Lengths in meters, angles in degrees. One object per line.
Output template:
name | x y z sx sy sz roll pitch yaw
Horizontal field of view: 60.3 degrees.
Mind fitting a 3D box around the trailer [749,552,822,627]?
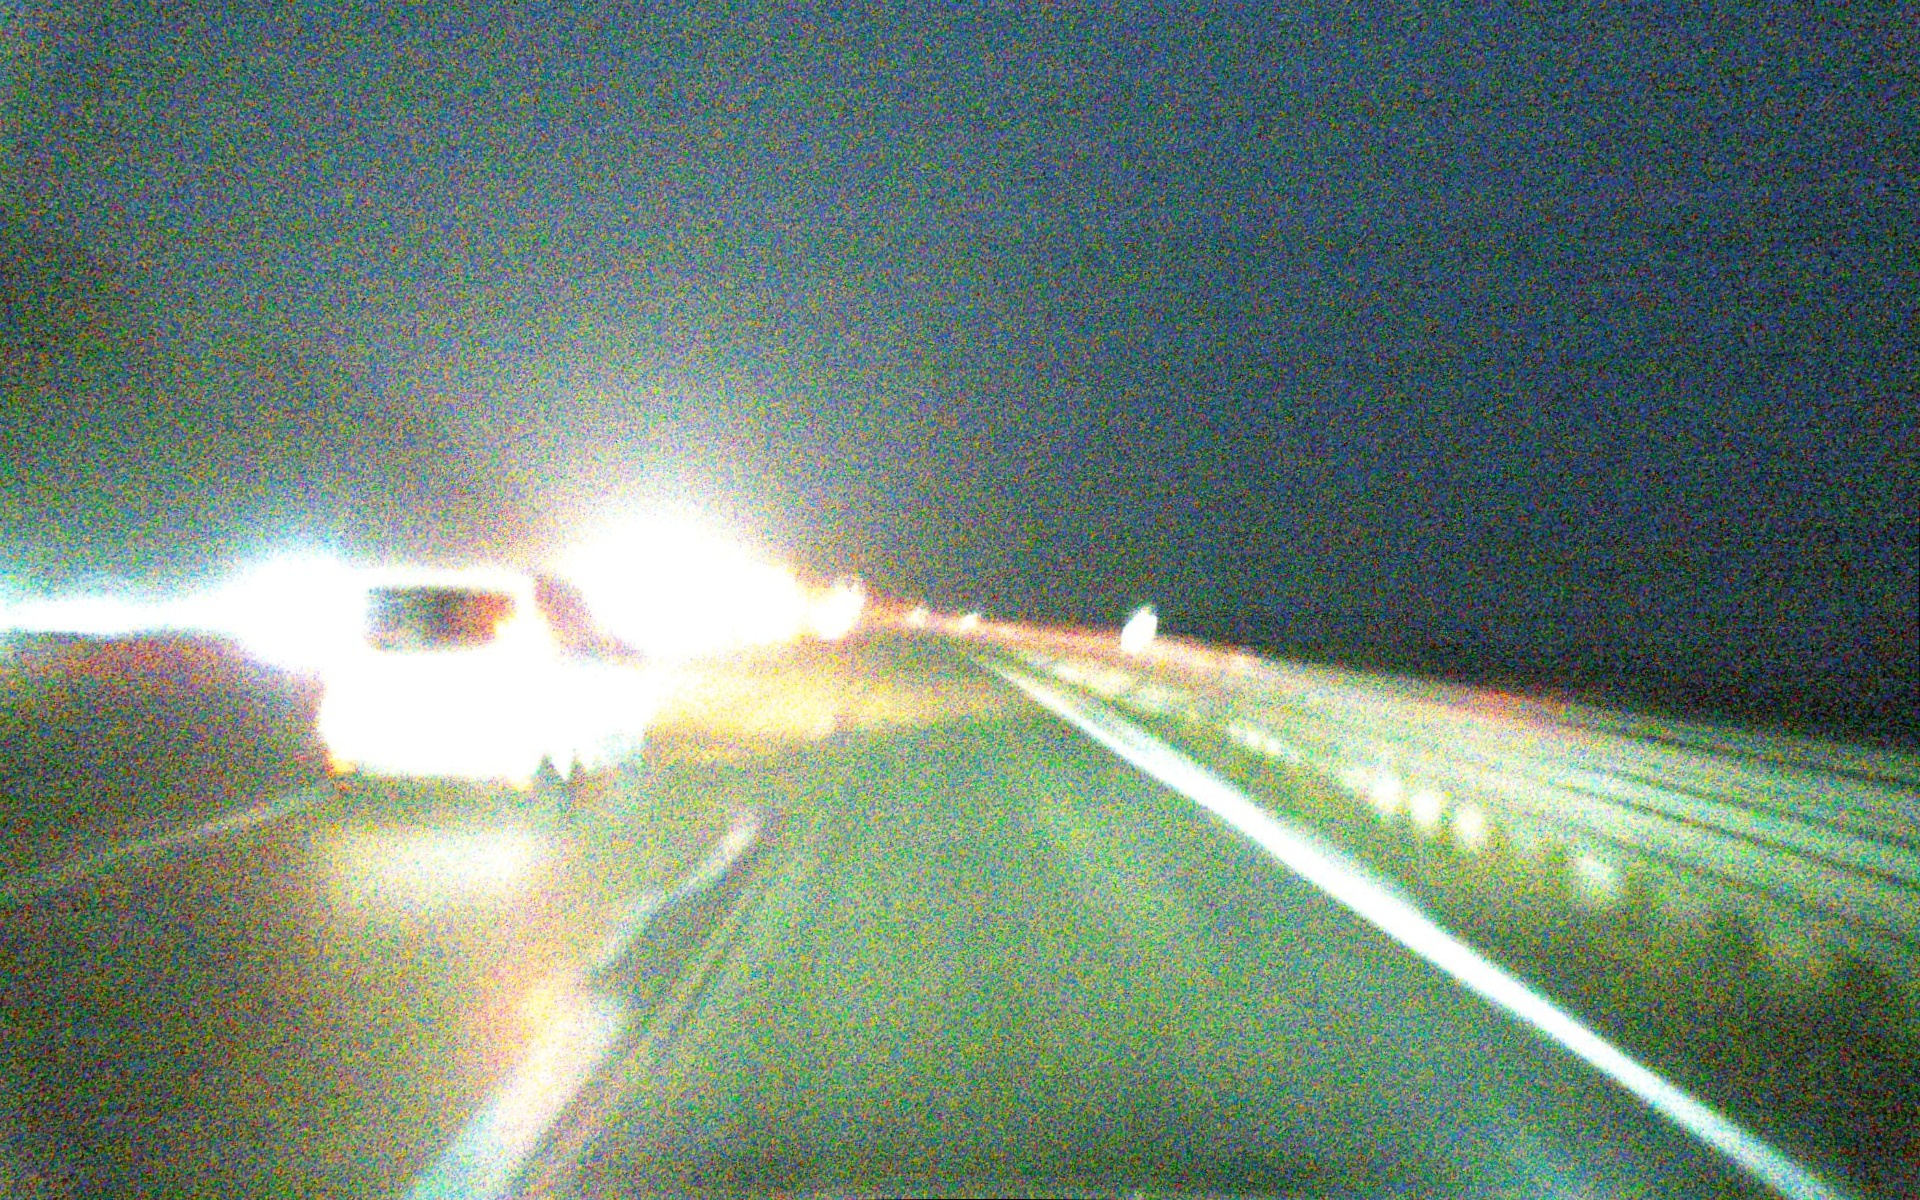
trailer | -9.874 -0.457 94.922 2.539 3.790 13.650 4 -1 0

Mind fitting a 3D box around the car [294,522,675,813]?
car | -3.800 0.505 14.253 1.953 2.049 5.015 0 -1 -2

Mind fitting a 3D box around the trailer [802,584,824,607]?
trailer | -19.276 -0.586 216.358 2.635 2.746 12.843 4 -1 -5

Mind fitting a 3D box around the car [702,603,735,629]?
car | -16.302 1.083 111.815 1.955 1.646 3.995 3 -1 -6

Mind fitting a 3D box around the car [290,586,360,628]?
car | -33.355 0.370 86.998 1.954 2.049 4.403 4 -1 -2

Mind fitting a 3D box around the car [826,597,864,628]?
car | -7.200 0.795 104.259 1.953 1.850 4.000 4 -1 1

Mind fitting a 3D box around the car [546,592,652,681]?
car | -9.236 0.905 42.684 1.955 2.049 4.563 4 -1 -4
